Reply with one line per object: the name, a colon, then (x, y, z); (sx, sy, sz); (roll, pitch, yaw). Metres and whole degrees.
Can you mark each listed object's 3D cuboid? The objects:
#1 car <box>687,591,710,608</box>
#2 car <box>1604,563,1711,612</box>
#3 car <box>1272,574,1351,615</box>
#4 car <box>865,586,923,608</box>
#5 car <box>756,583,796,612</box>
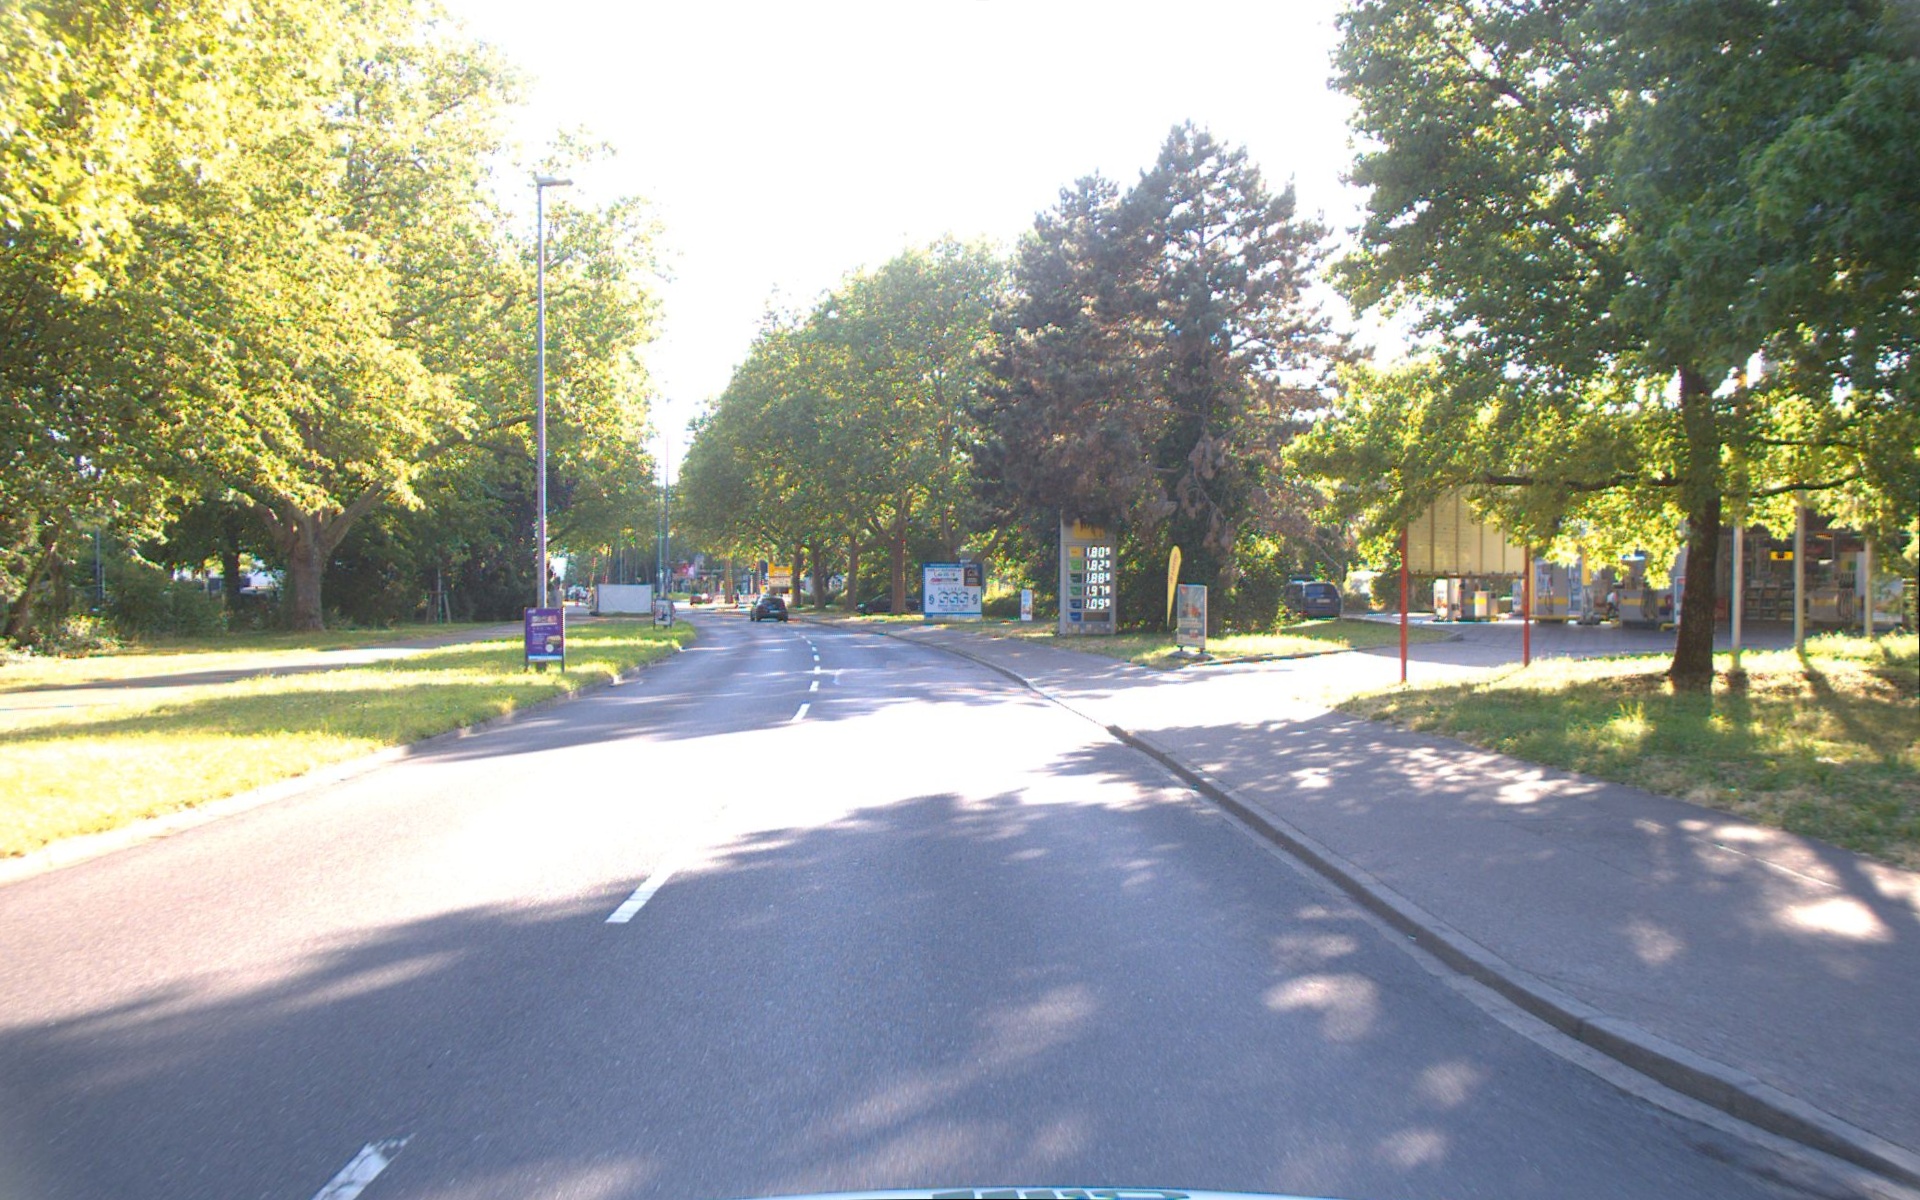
car: (-32.213, -0.129, 203.997); (1.952, 2.049, 4.002); (0, 1, 3)
car: (26.102, -0.489, 62.079); (1.778, 1.758, 4.392); (-1, 1, -7)
car: (12.776, -0.223, 60.376); (1.805, 1.445, 3.997); (0, 0, -4)
car: (-4.656, -0.238, 116.658); (3.915, 1.468, 1.756); (-1, 0, -11)
car: (-10.376, -0.145, 93.702); (1.801, 1.633, 3.863); (0, 1, 1)
